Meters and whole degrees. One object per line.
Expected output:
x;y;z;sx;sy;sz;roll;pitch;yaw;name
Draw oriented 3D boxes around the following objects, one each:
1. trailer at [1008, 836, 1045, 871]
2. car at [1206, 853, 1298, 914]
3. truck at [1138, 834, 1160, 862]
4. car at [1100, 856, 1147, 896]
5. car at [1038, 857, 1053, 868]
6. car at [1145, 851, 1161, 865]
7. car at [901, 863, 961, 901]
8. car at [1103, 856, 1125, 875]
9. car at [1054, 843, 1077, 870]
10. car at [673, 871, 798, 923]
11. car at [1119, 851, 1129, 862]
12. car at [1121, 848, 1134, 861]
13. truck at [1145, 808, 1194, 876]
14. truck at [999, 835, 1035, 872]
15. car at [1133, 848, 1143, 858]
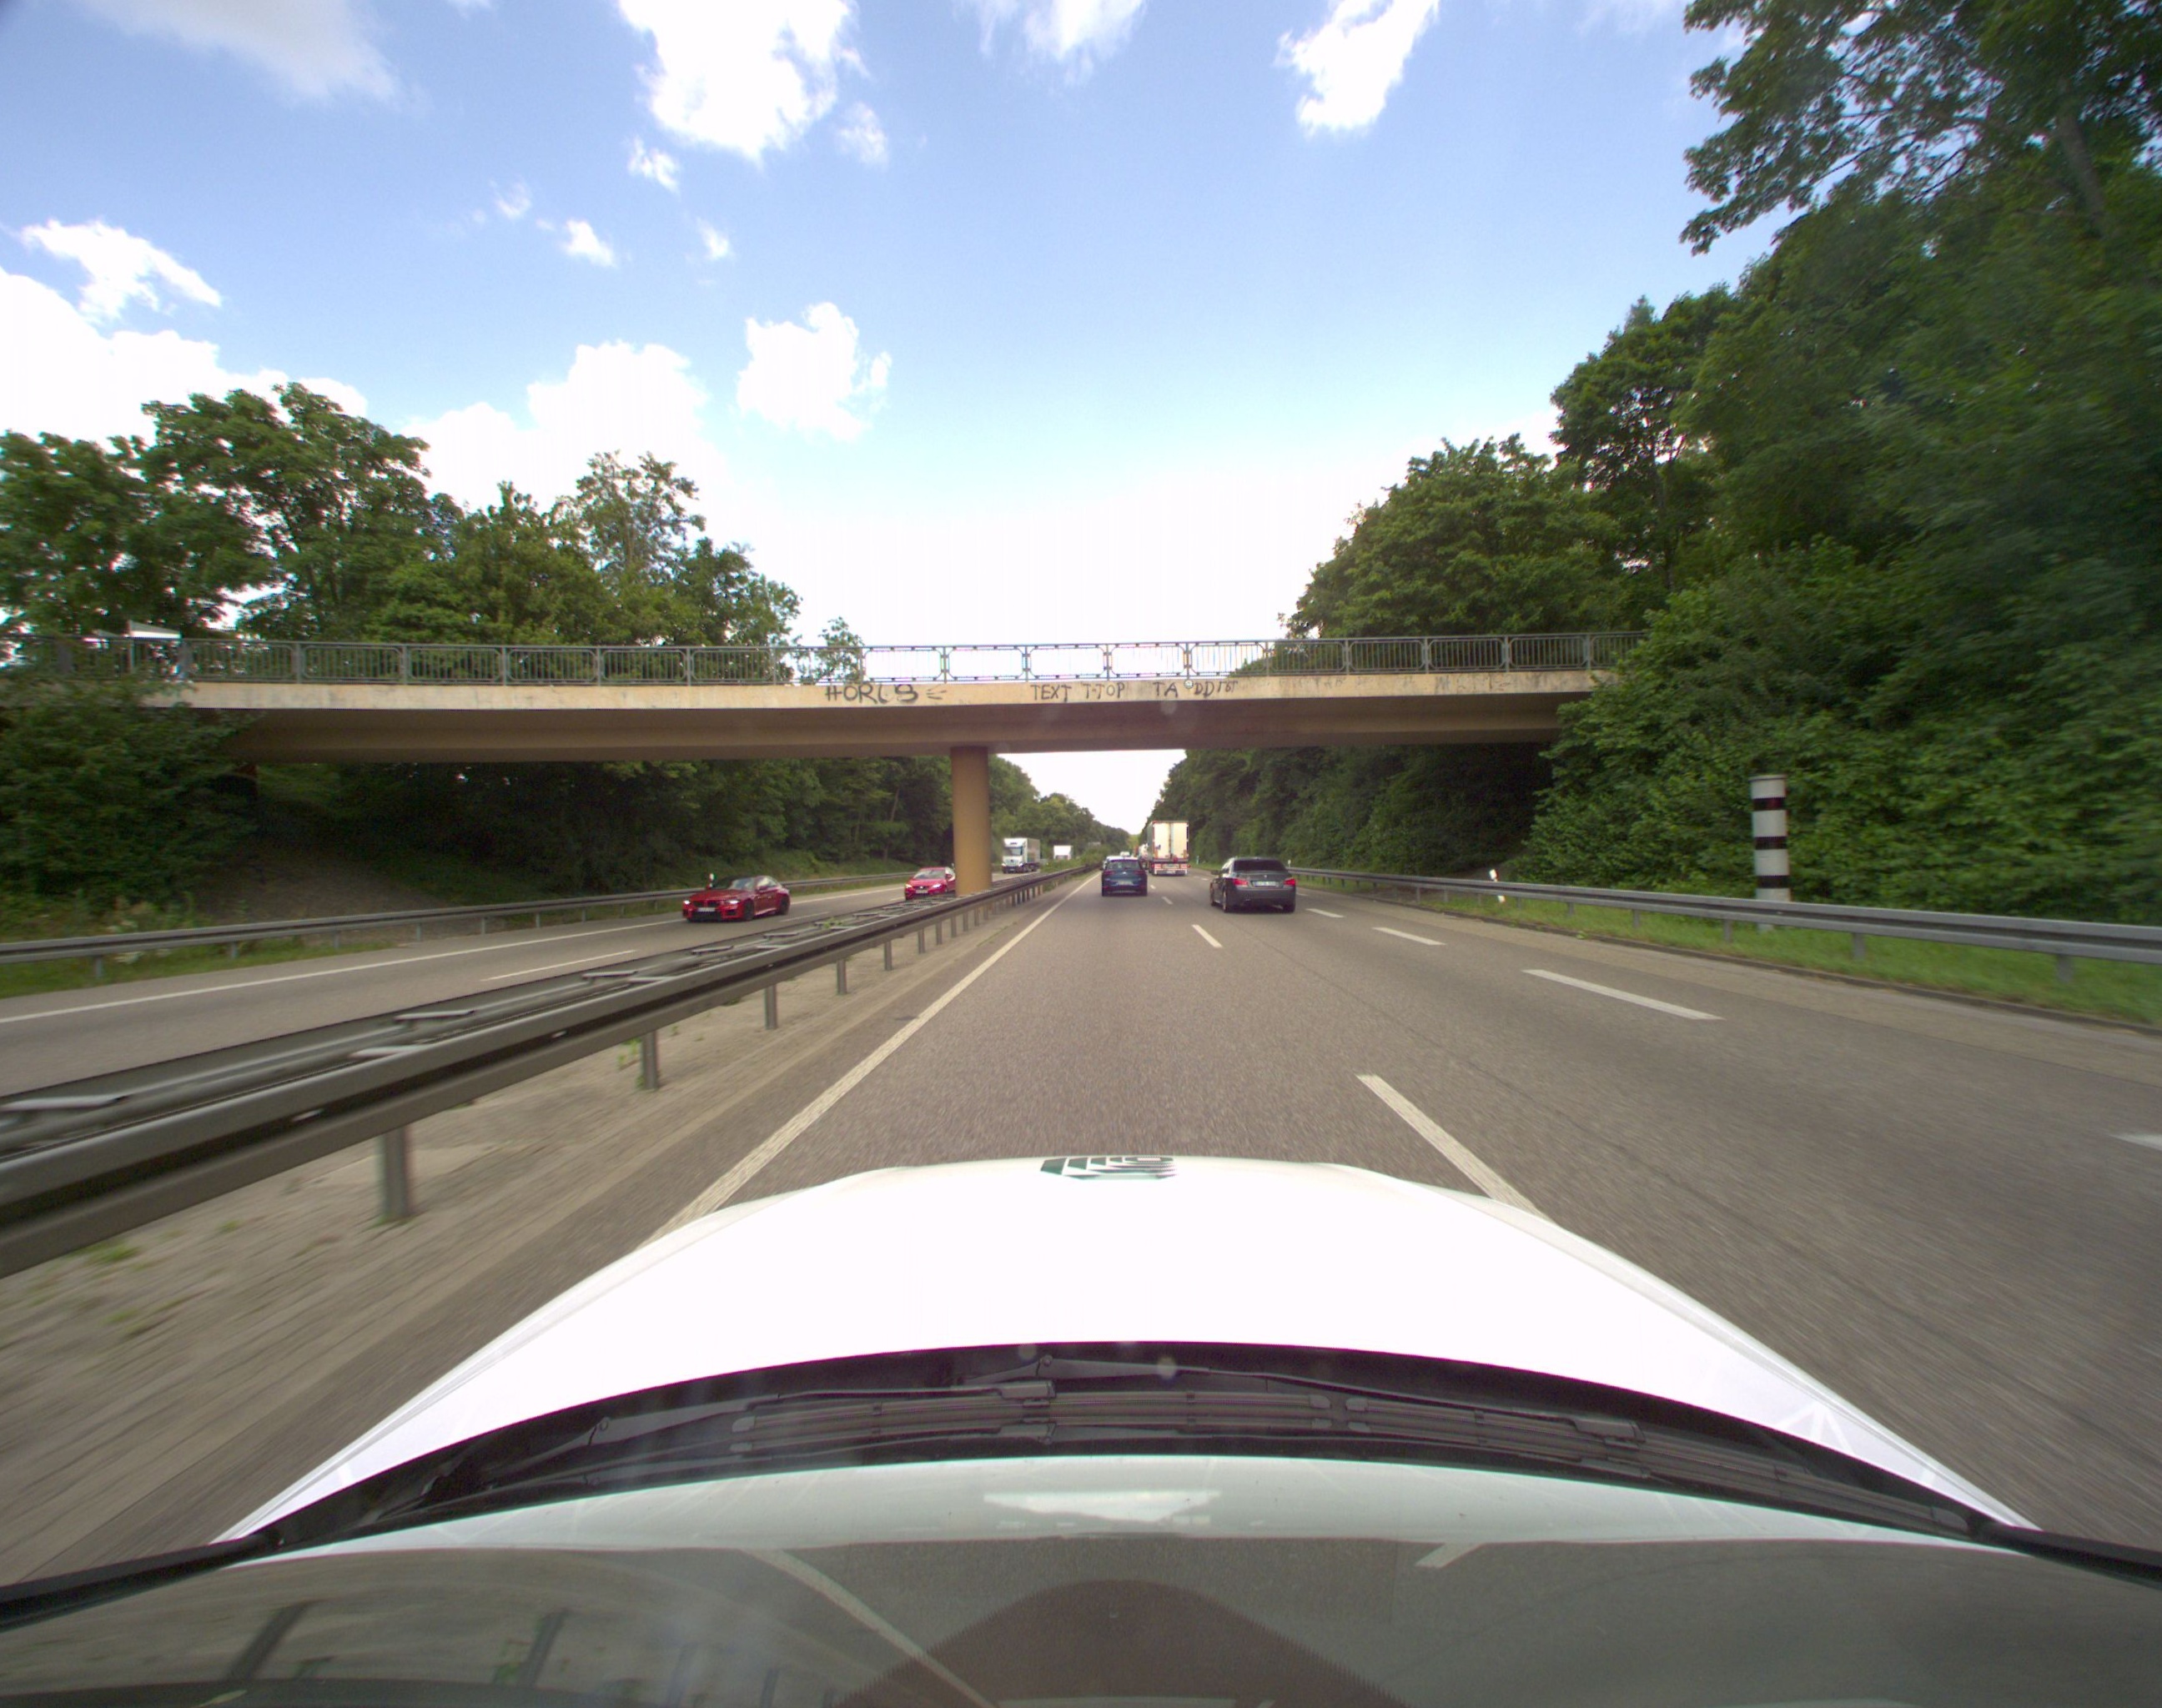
-6.637;-0.084;101.244;3.046;4.042;9.985;-2;0;4;trailer
4.566;0.737;22.429;1.767;1.475;4.884;0;0;3;car
11.281;-0.934;135.900;3.218;4.386;12.980;-1;-1;3;truck
1.669;0.821;31.802;1.698;1.470;4.003;0;0;3;car
-5.426;1.303;123.717;1.727;1.473;4.474;-2;0;3;car
9.578;0.520;108.609;1.880;1.729;4.004;-2;0;4;car
-6.609;1.188;36.353;1.679;1.476;4.438;-2;0;1;car
2.685;0.897;65.613;1.658;1.500;4.156;-1;0;4;car
-1.945;0.352;103.823;2.279;3.232;7.291;-2;0;3;car
-11.008;1.313;26.383;1.857;1.378;4.807;-2;0;1;car
9.352;0.474;177.436;1.986;2.255;4.442;-2;0;1;car
7.642;0.056;133.535;1.946;2.013;4.002;-2;0;2;car
6.679;-0.853;63.127;3.227;4.716;11.019;-2;0;4;truck
-7.241;-0.057;92.834;3.027;3.986;6.755;-2;0;4;truck
13.920;-0.246;199.570;1.986;2.327;4.443;-2;0;1;car
